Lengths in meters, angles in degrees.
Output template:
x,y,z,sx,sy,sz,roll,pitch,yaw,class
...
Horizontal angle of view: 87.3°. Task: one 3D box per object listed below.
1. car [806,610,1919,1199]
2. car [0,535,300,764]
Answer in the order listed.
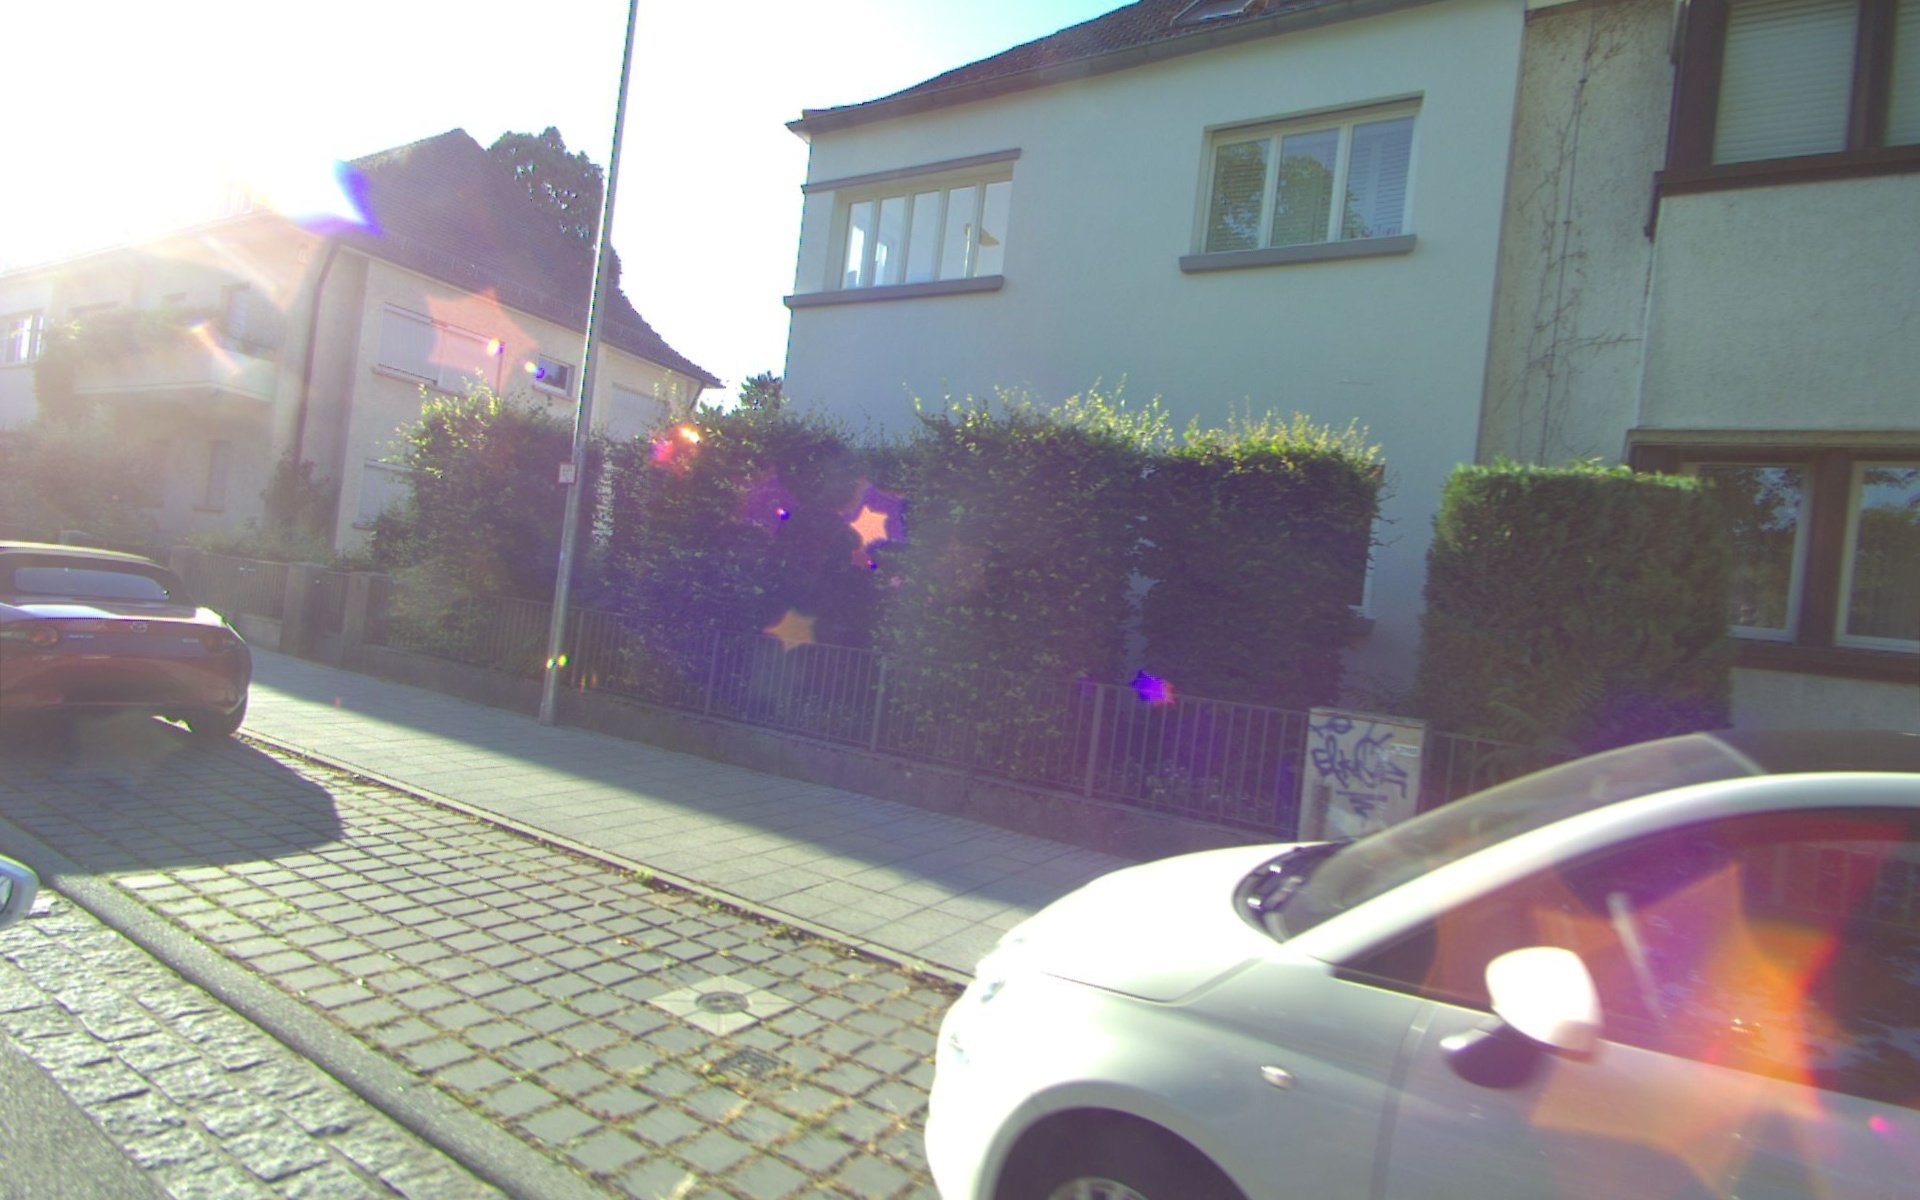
x,y,z,sx,sy,sz,roll,pitch,yaw,class
1.551,0.975,1.944,3.435,1.498,1.506,6,0,32,car
-6.689,0.205,7.252,3.816,1.272,1.701,5,-2,32,car
